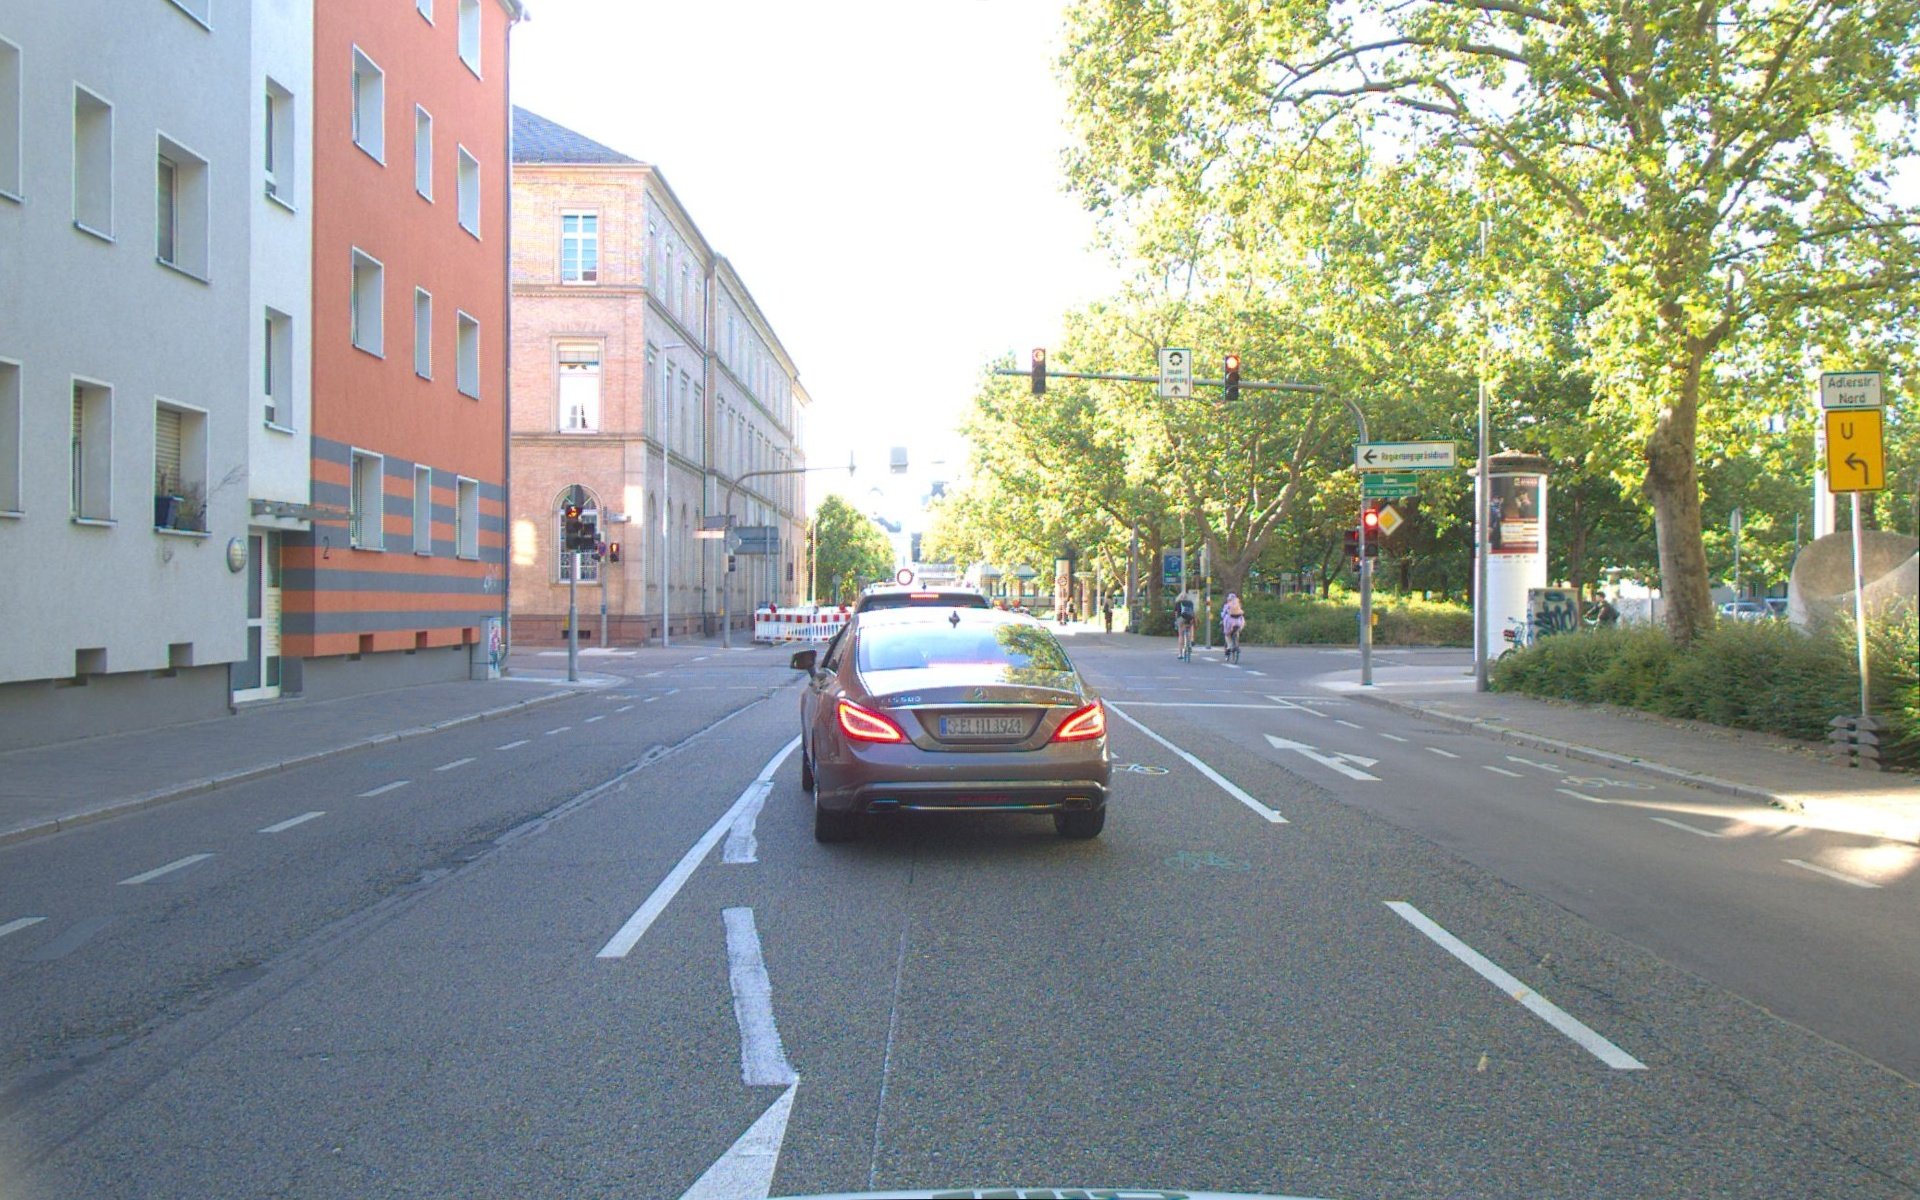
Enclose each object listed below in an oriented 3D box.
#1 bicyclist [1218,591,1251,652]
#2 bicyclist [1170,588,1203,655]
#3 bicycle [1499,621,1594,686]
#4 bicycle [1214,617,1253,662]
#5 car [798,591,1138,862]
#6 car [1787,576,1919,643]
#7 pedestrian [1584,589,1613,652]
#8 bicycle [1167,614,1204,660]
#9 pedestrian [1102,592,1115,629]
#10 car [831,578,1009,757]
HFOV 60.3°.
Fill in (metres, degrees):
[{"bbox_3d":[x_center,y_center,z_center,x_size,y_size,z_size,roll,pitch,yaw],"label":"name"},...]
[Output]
[{"bbox_3d":[6.576,0.508,39.672,0.588,1.426,0.931,2,0,-1],"label":"bicyclist"},{"bbox_3d":[5.390,0.503,39.365,0.598,1.542,0.889,2,0,-1],"label":"bicyclist"},{"bbox_3d":[9.705,0.880,27.397,1.387,1.055,0.538,0,0,-5],"label":"bicycle"},{"bbox_3d":[6.556,0.933,39.698,0.588,1.002,1.881,2,0,-1],"label":"bicycle"},{"bbox_3d":[-0.155,0.703,11.434,1.787,1.502,4.346,0,0,-7],"label":"car"},{"bbox_3d":[25.562,0.266,46.227,3.912,1.815,2.001,0,0,4],"label":"car"},{"bbox_3d":[18.637,0.600,48.304,0.607,1.815,0.630,0,0,1],"label":"pedestrian"},{"bbox_3d":[5.386,0.871,39.503,0.598,1.044,1.731,2,0,-1],"label":"bicycle"},{"bbox_3d":[6.851,0.472,76.247,0.548,1.707,0.564,0,0,-1],"label":"pedestrian"},{"bbox_3d":[-0.435,0.625,17.226,1.647,1.653,3.839,0,0,-2],"label":"car"}]
